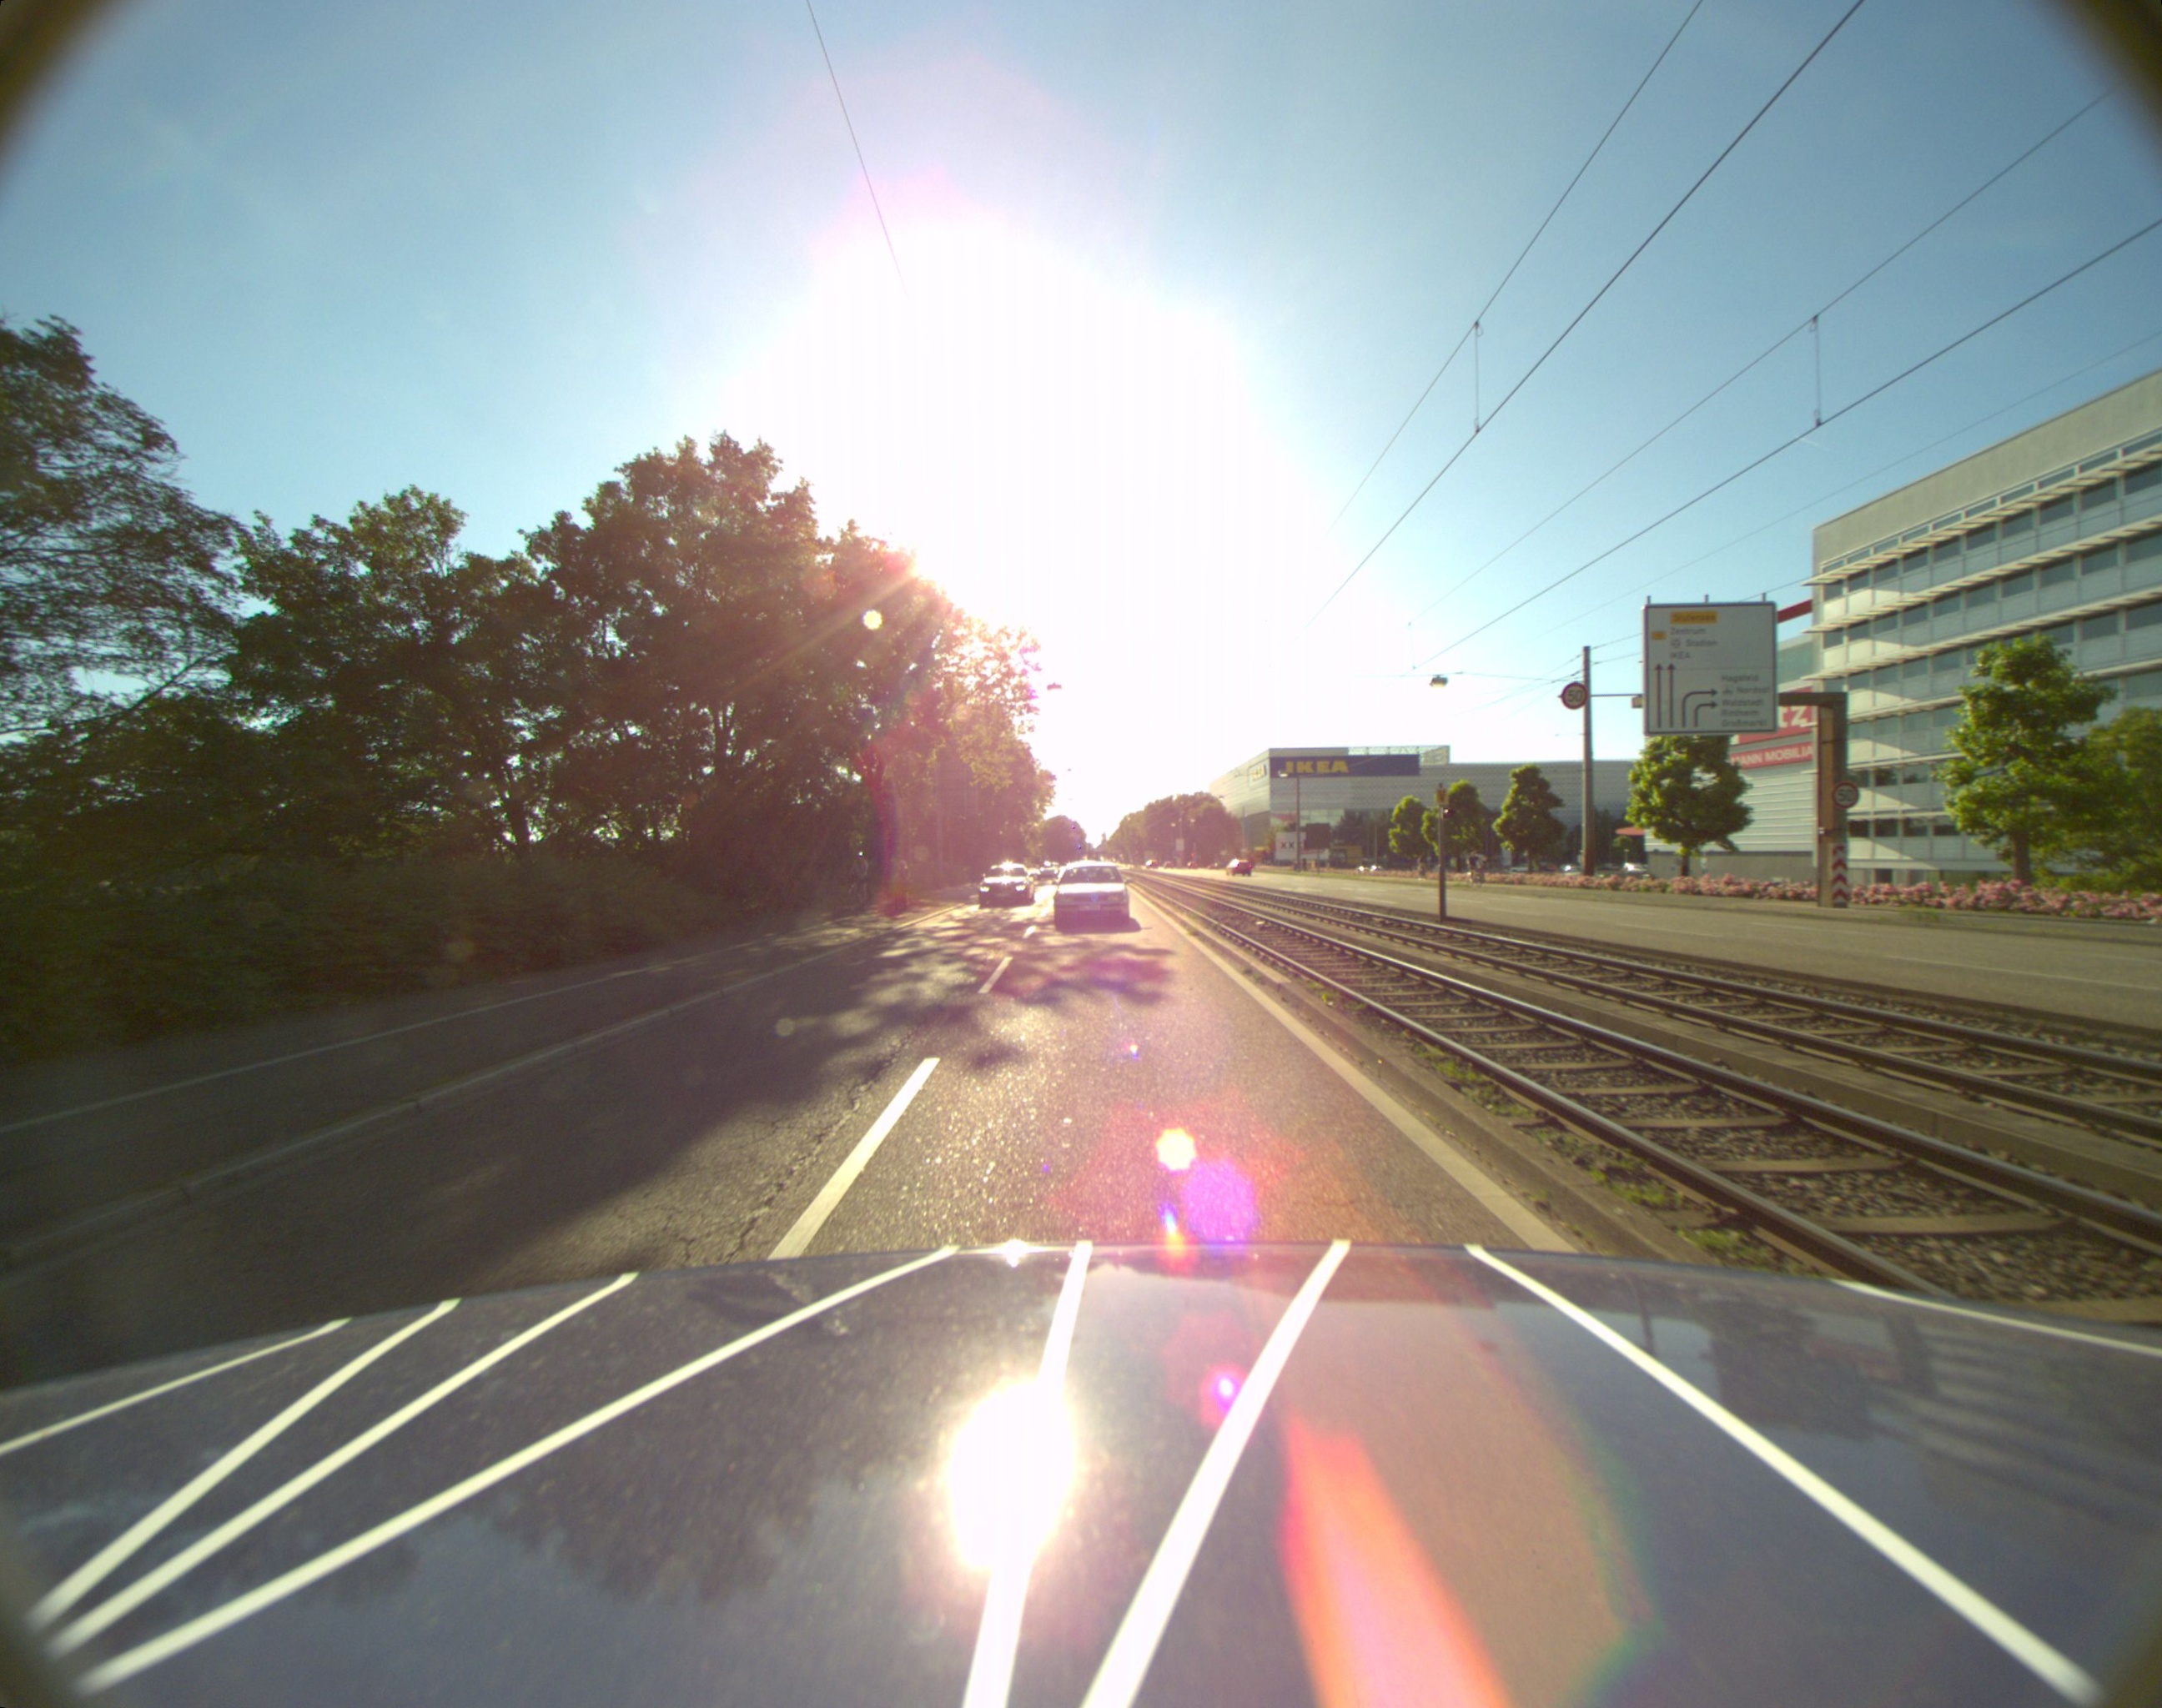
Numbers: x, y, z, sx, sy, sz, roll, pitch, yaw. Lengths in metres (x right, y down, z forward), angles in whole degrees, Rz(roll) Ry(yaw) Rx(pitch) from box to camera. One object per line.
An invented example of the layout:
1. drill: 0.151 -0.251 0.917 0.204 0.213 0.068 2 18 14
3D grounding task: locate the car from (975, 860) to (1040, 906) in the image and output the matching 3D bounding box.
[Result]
1. car: -2.662 1.031 28.564 1.870 1.459 4.586 -2 0 1

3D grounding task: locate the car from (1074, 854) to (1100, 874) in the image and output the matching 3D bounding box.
1. car: 0.543 0.776 61.453 1.871 1.422 3.831 -4 0 2

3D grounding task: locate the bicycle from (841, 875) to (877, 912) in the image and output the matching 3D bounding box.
1. bicycle: -7.172 1.246 24.596 0.624 1.113 1.813 -1 0 0

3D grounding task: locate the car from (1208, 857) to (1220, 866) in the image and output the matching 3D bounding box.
1. car: 25.886 1.424 147.607 1.823 1.633 4.005 0 0 15

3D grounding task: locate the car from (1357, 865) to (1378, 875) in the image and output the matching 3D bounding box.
1. car: 55.474 3.034 147.220 1.999 1.700 4.416 -4 0 -4

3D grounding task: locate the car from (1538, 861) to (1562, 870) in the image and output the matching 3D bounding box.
1. car: 89.387 2.213 144.868 1.672 1.543 4.438 -4 0 -4

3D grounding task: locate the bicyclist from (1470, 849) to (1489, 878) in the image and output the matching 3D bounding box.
1. bicyclist: 23.300 0.559 44.443 0.604 1.649 0.963 -4 0 6

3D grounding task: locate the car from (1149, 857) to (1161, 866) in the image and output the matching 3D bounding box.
1. car: 14.029 1.377 143.797 1.998 1.646 4.659 0 0 1

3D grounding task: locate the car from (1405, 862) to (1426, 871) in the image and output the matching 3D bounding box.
1. car: 64.655 2.389 146.996 1.935 1.734 3.999 -4 0 -3

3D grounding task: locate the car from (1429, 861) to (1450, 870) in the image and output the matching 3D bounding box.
1. car: 69.516 2.279 147.436 1.935 1.583 3.999 -4 0 -3

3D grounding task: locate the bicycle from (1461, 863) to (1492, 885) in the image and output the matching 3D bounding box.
1. bicycle: 20.330 1.023 39.095 0.706 1.067 2.028 -4 0 7

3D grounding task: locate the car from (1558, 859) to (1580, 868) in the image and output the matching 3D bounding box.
1. car: 94.014 1.794 146.541 1.727 1.645 4.000 -1 0 1

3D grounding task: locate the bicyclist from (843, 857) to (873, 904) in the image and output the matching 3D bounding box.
1. bicyclist: -7.180 0.849 24.538 0.687 1.500 0.890 1 0 0

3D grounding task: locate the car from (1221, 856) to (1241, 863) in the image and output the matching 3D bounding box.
1. car: 35.141 1.242 178.219 4.253 1.489 2.016 1 1 5

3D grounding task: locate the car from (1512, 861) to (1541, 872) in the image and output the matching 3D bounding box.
1. car: 83.297 2.265 142.038 4.218 1.789 1.830 -4 0 43

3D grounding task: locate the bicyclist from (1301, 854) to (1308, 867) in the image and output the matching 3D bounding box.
1. bicyclist: 28.862 0.841 98.088 0.662 1.614 0.801 -4 0 10

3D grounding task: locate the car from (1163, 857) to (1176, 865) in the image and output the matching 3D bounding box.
1. car: 17.481 1.377 150.303 1.861 1.452 4.137 -1 0 -1

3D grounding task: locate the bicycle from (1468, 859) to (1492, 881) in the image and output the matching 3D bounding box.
1. bicycle: 23.317 0.923 44.401 0.604 1.212 1.749 -4 0 7

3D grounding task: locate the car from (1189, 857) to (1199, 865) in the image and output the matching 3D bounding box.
1. car: 22.114 1.300 148.353 1.938 1.468 4.134 1 0 9

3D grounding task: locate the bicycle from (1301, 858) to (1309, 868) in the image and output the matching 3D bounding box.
1. bicycle: 28.858 1.169 97.946 0.662 1.144 2.023 -4 0 10

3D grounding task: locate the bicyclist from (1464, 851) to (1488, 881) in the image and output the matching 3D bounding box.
1. bicyclist: 20.303 0.616 39.046 0.706 1.503 0.971 -4 0 7

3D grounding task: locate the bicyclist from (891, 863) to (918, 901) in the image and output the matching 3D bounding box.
1. bicyclist: -5.715 0.892 24.670 0.642 1.219 0.890 -1 0 0

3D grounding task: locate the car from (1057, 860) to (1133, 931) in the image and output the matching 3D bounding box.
1. car: 0.333 0.909 18.343 1.602 1.440 3.799 -2 0 1

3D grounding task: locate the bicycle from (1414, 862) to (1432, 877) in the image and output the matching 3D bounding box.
1. bicycle: 24.574 1.088 54.637 0.626 1.052 1.704 -1 0 4

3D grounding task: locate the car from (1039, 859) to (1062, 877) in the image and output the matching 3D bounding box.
1. car: -2.681 1.203 65.946 1.857 1.415 3.979 -2 0 -3

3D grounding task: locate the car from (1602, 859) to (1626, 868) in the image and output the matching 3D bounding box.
1. car: 101.781 1.885 145.135 1.998 1.645 4.000 -1 0 1

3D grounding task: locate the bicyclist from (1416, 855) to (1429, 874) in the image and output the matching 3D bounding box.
1. bicyclist: 24.566 0.777 54.657 0.626 1.366 0.880 -1 0 4

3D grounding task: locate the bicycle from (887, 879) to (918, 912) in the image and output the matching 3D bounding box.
1. bicycle: -5.712 1.301 24.382 0.566 0.968 1.788 -1 0 0

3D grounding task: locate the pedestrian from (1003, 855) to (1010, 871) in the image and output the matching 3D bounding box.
1. pedestrian: -7.781 0.920 79.315 0.724 1.698 0.813 0 0 0

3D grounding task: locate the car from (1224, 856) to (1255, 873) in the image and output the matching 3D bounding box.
1. car: 15.695 1.025 75.366 2.044 1.494 4.887 -1 0 1
